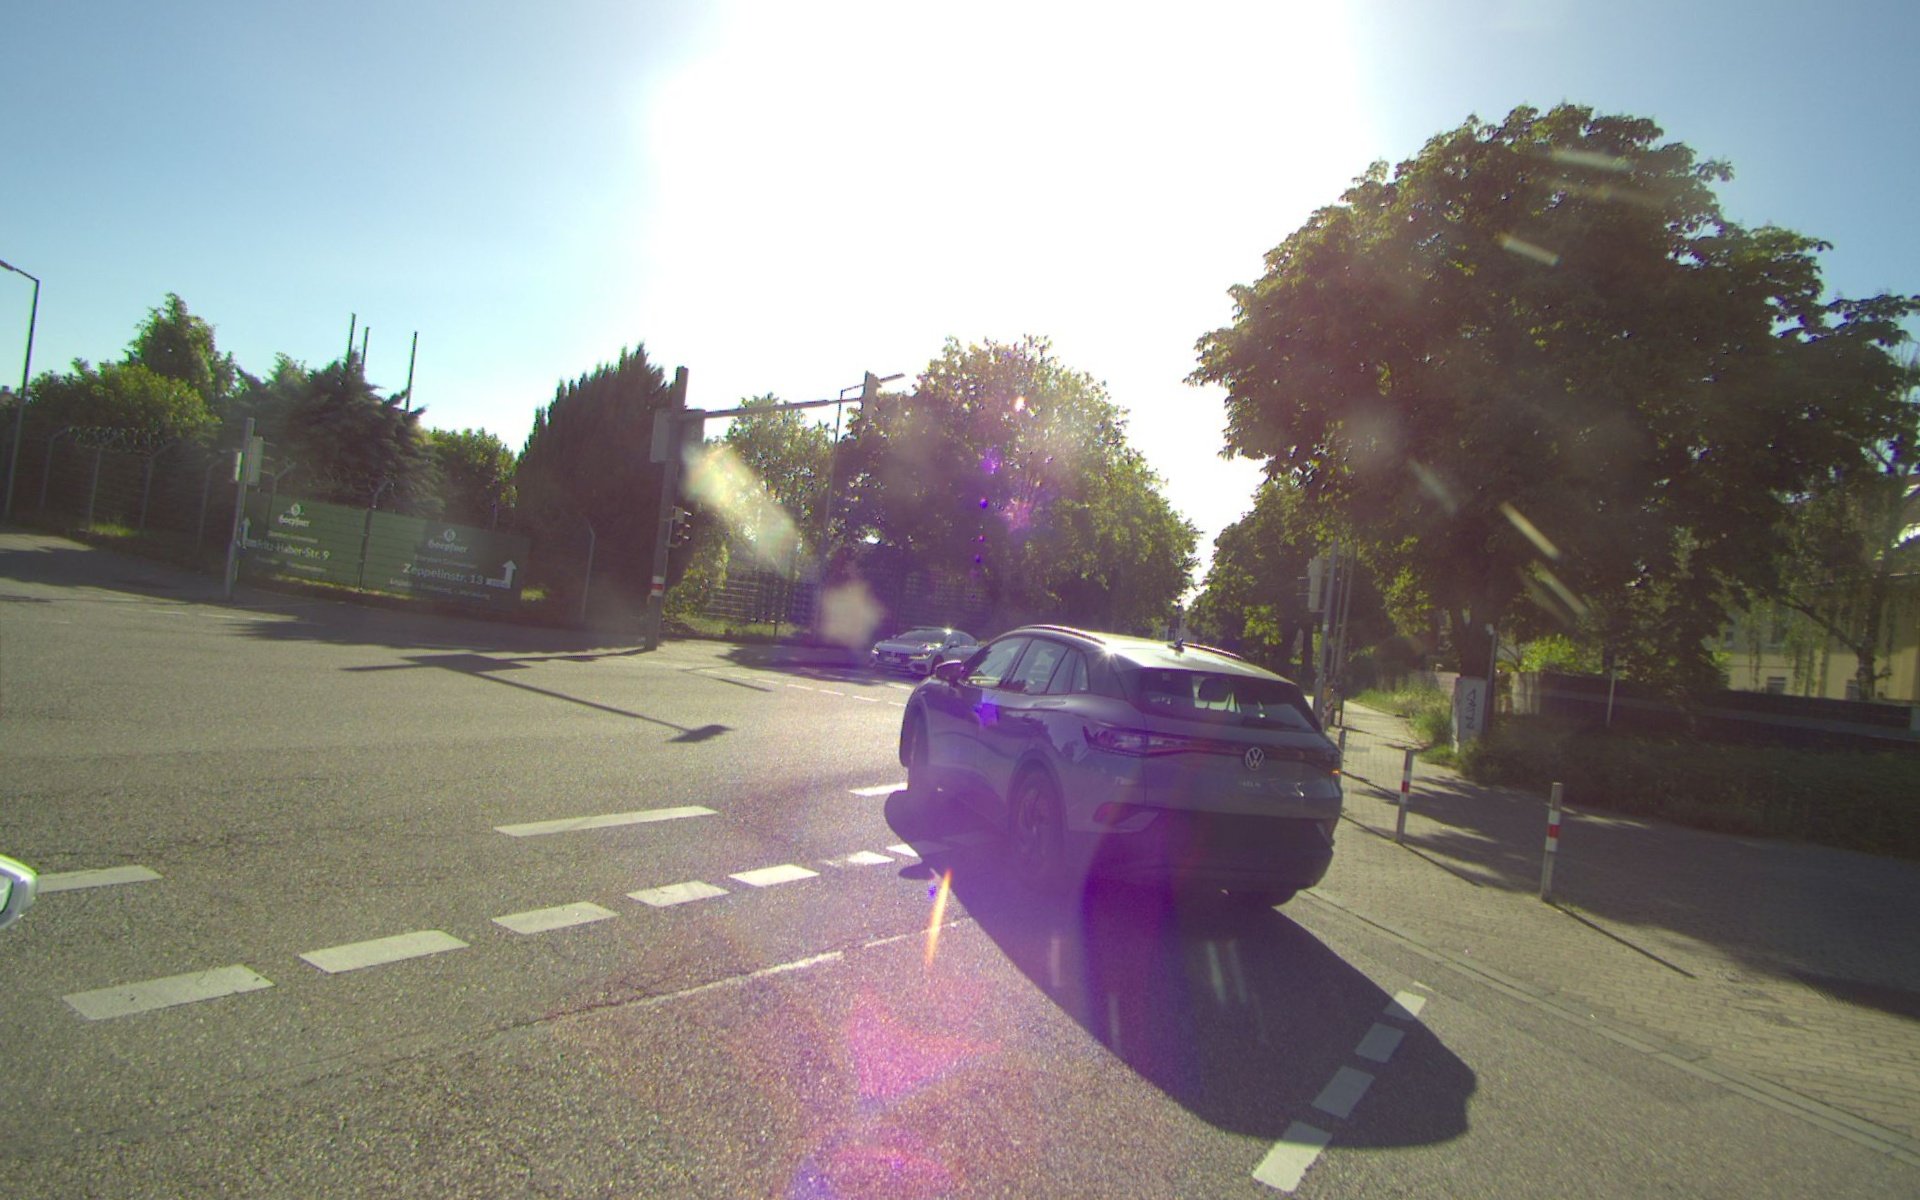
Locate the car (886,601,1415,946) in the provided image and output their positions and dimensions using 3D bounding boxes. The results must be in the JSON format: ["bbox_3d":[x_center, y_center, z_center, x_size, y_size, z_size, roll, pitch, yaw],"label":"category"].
[{"bbox_3d":[0.973,1.000,7.486,1.836,1.654,4.239,8,-1,-19],"label":"car"}]

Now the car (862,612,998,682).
[{"bbox_3d":[-0.721,1.355,27.767,1.778,1.550,4.513,7,-1,25],"label":"car"}]
